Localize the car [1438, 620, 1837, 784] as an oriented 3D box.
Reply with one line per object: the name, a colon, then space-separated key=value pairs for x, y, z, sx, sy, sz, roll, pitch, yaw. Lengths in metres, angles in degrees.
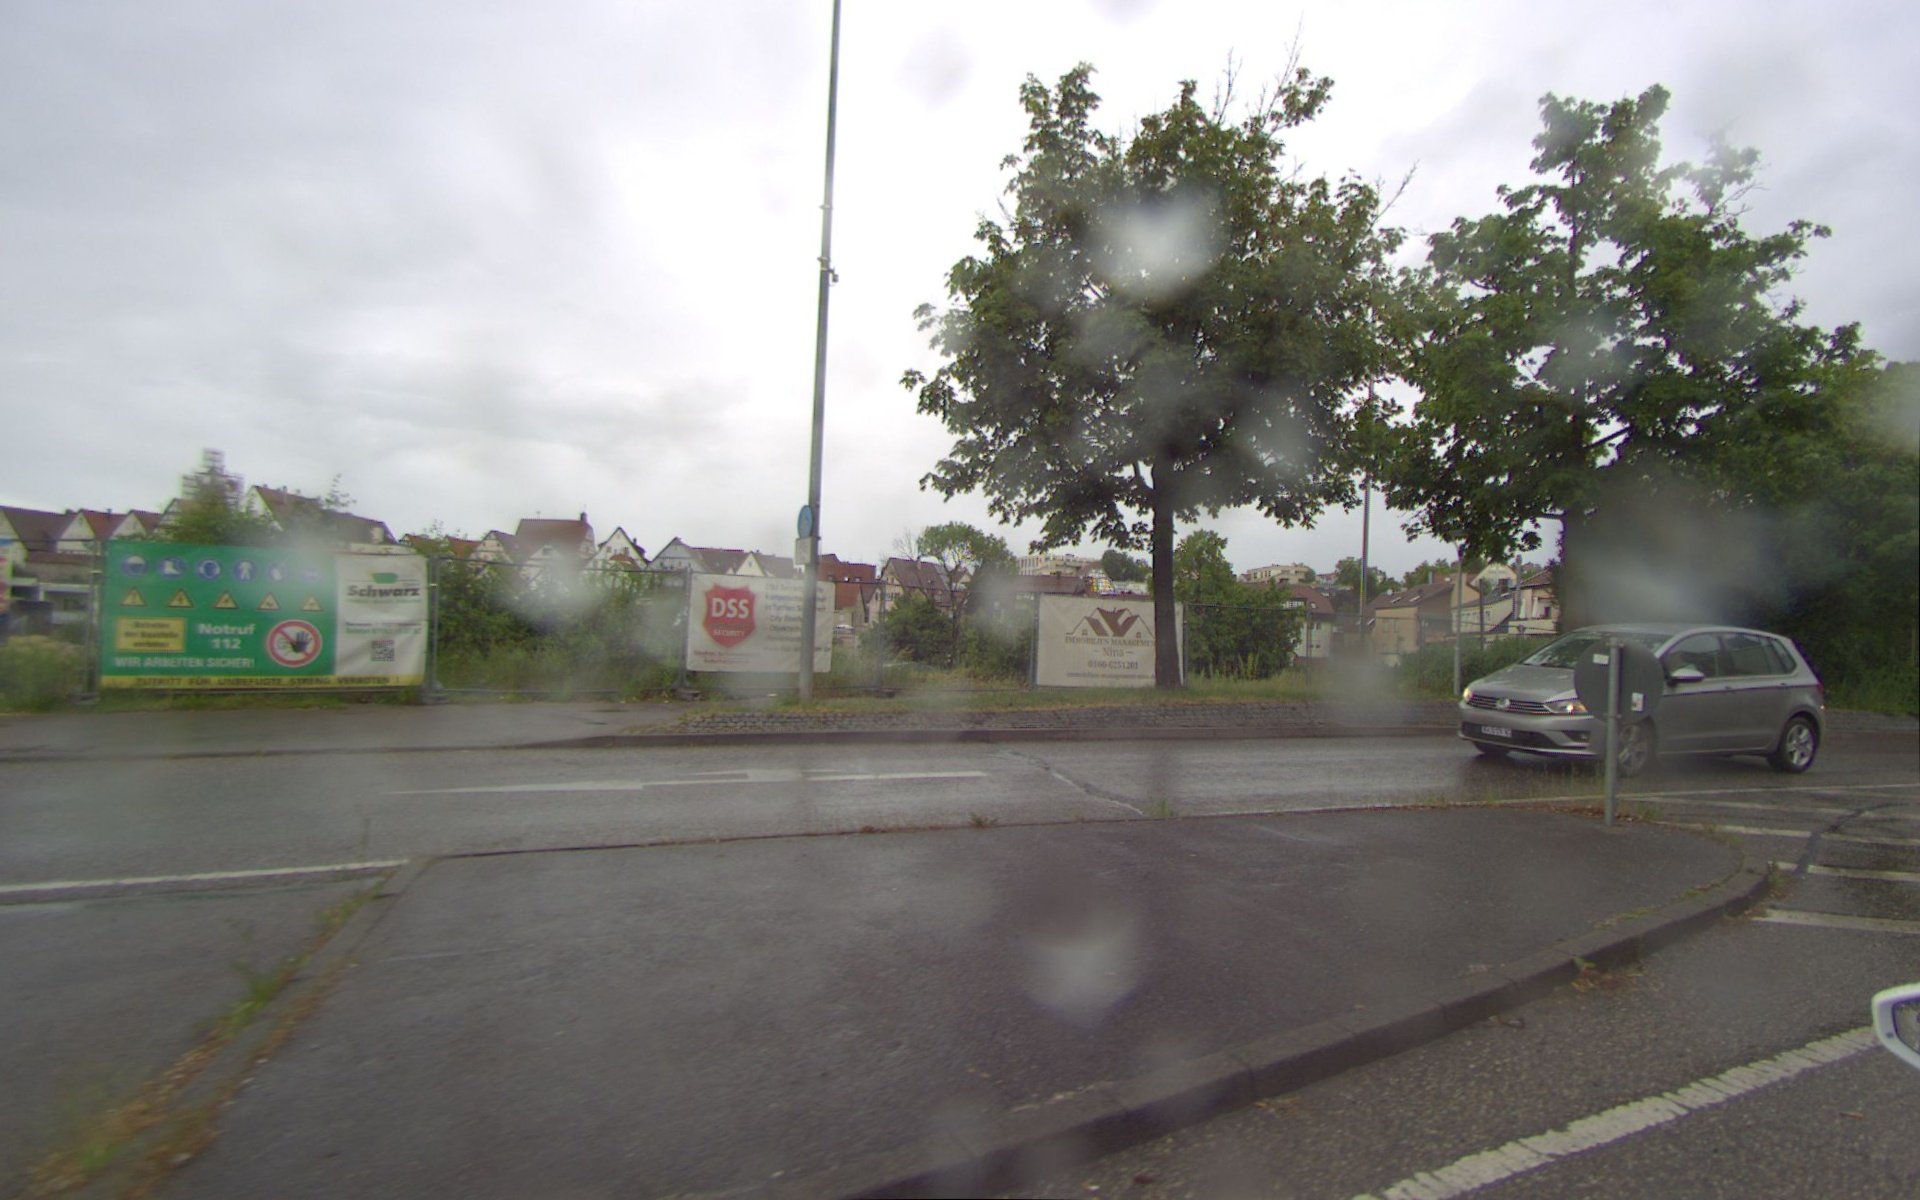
car: x=7.545 y=1.077 z=11.194 sx=4.093 sy=1.572 sz=1.641 roll=2 pitch=-2 yaw=-21
